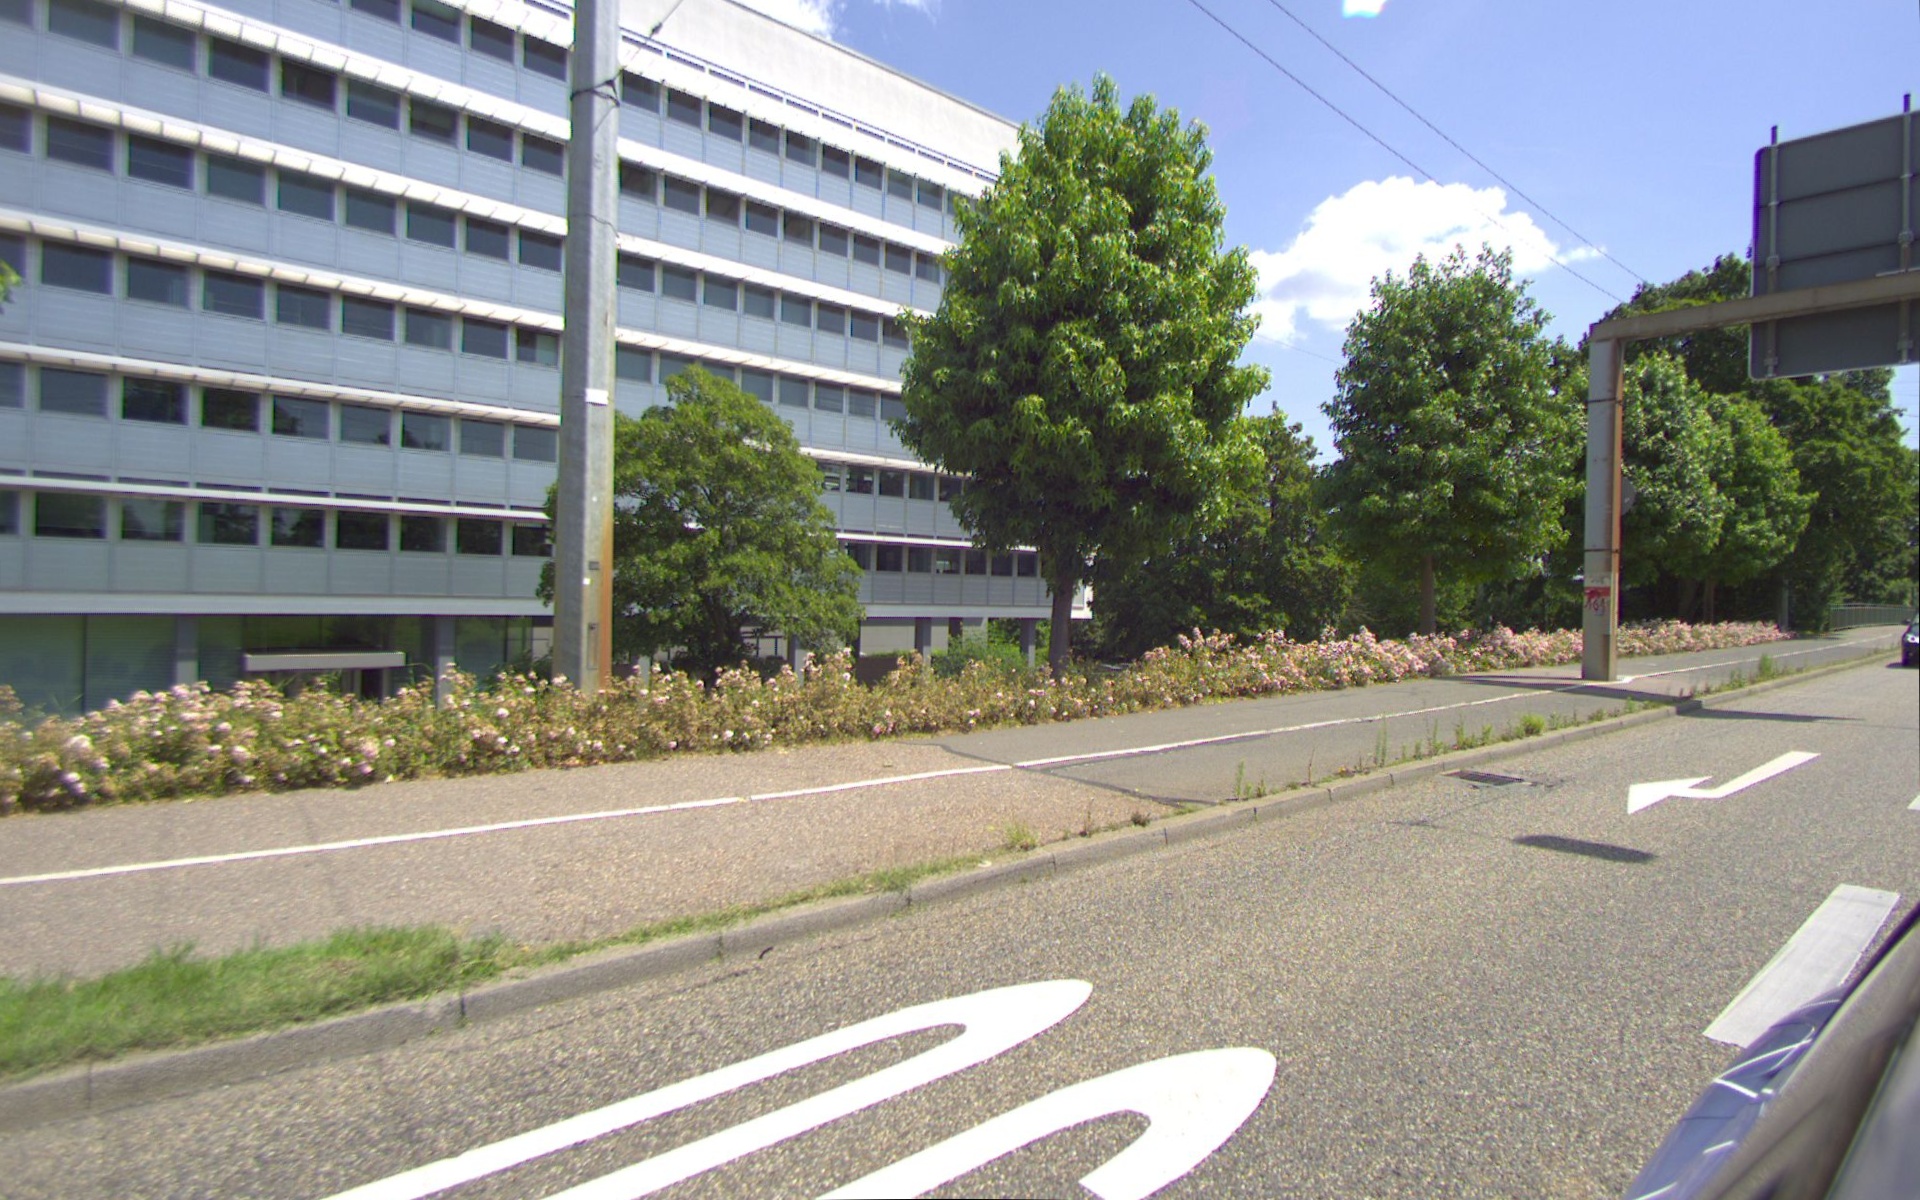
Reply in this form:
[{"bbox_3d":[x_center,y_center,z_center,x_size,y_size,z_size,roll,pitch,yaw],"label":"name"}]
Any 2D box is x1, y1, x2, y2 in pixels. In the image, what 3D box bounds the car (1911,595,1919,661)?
[{"bbox_3d":[24.558,0.639,24.545,4.027,1.546,1.763,0,-1,-41],"label":"car"}]
